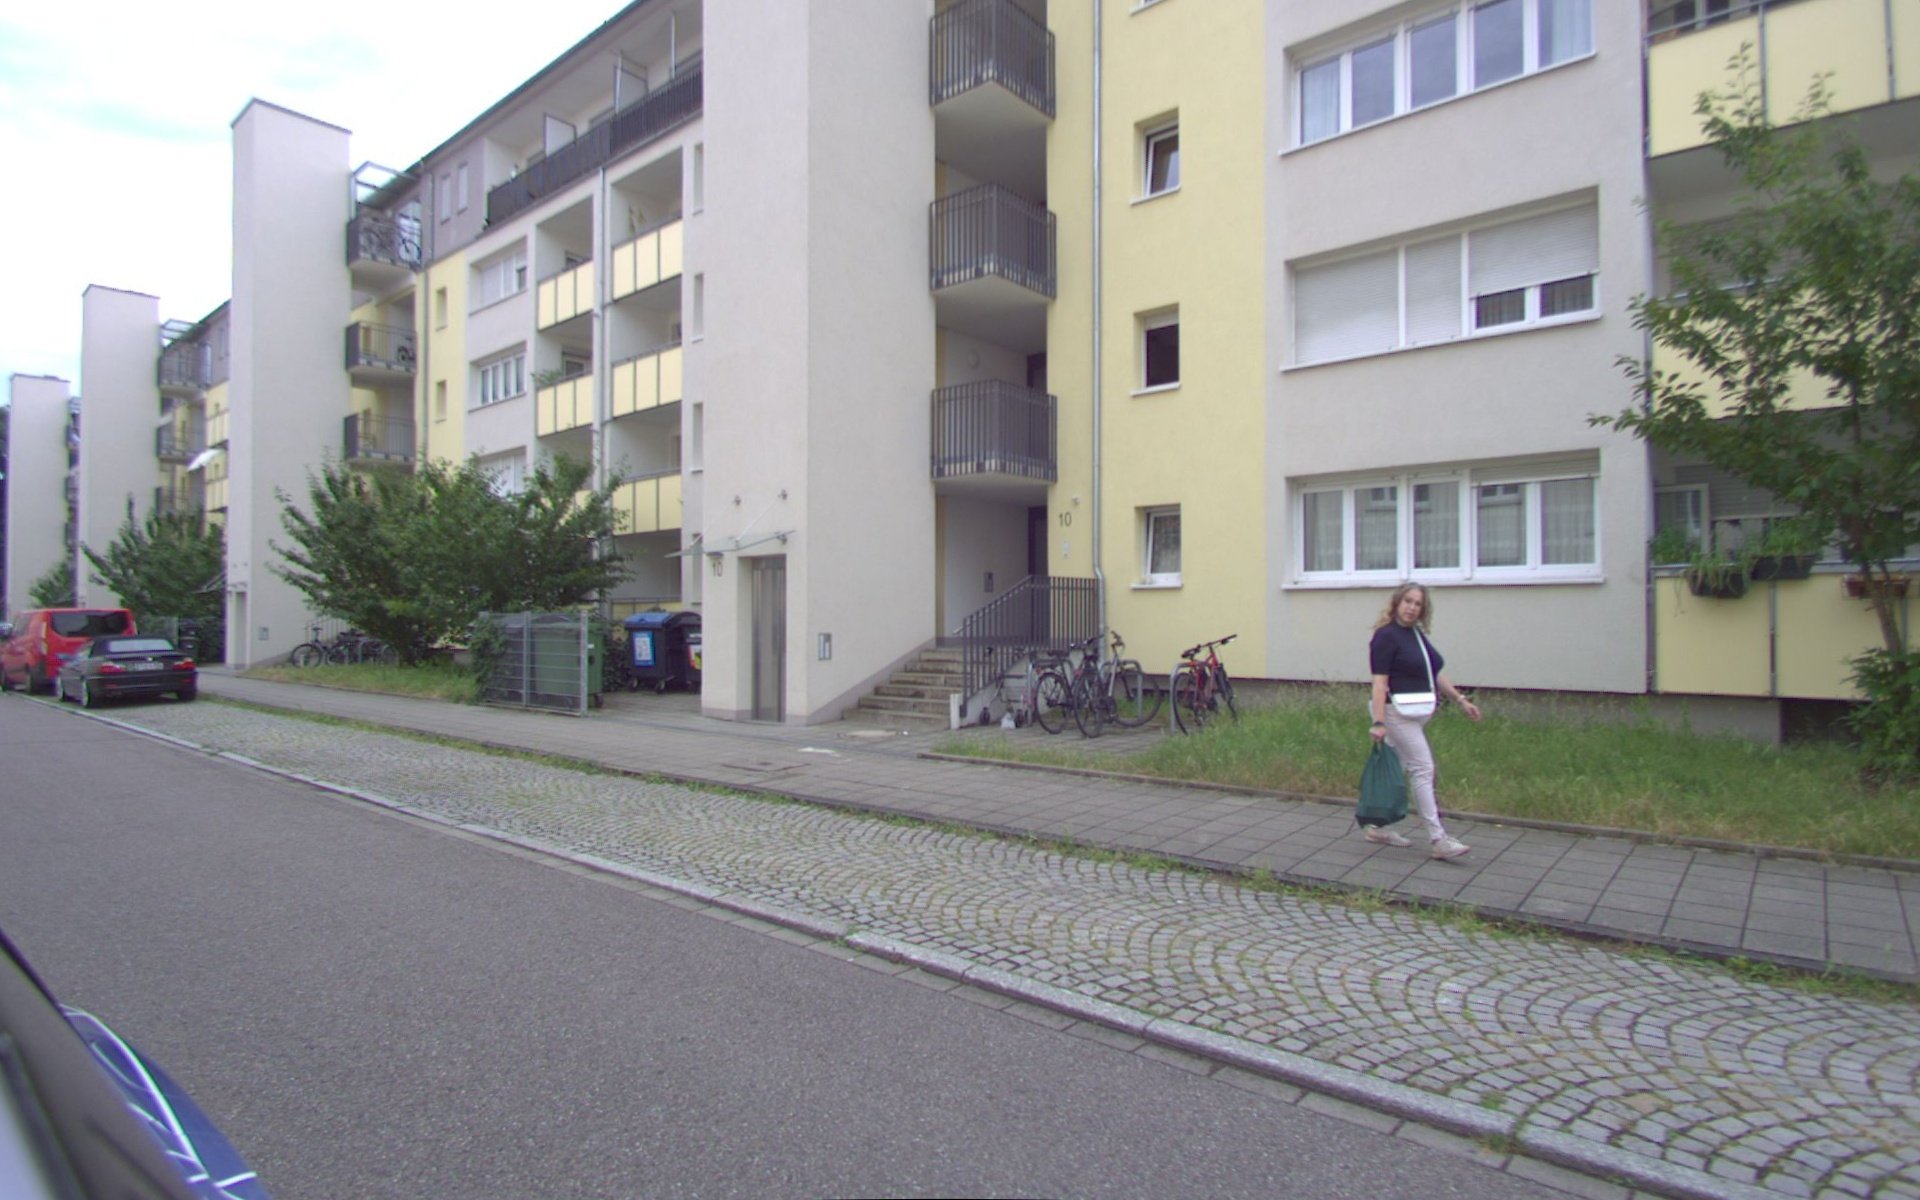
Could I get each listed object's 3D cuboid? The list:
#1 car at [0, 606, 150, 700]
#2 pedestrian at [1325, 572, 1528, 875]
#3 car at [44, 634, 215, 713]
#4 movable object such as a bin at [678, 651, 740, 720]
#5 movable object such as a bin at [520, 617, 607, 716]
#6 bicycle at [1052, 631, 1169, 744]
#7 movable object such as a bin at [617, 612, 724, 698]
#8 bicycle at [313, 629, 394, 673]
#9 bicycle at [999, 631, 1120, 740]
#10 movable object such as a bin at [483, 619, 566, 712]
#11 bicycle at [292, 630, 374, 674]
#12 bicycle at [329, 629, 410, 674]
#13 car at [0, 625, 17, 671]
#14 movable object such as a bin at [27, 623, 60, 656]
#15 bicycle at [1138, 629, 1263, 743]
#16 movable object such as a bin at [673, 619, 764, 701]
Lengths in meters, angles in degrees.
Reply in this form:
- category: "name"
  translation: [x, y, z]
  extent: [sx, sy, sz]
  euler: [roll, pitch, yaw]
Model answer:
- category: "car"
  translation: [-21.469, 1.202, 24.279]
  extent: [4.915, 1.968, 2.131]
  euler: [-1, 0, 38]
- category: "pedestrian"
  translation: [2.783, 0.669, 6.032]
  extent: [0.945, 1.622, 0.792]
  euler: [-1, -1, 36]
- category: "car"
  translation: [-16.793, 1.400, 20.397]
  extent: [4.357, 1.333, 1.851]
  euler: [-1, 0, 39]
- category: "movable object such as a bin"
  translation: [-3.730, 1.253, 15.039]
  extent: [0.652, 0.972, 0.629]
  euler: [-1, -2, 41]
- category: "movable object such as a bin"
  translation: [-6.159, 0.999, 15.692]
  extent: [1.288, 1.440, 0.794]
  euler: [-2, -1, 44]
- category: "bicycle"
  translation: [1.768, 0.950, 11.651]
  extent: [0.621, 1.150, 2.008]
  euler: [-1, -1, 30]
- category: "movable object such as a bin"
  translation: [-5.316, 0.983, 18.572]
  extent: [1.371, 1.475, 1.339]
  euler: [-1, -1, 39]
- category: "bicycle"
  translation: [-16.635, 1.384, 27.798]
  extent: [0.570, 1.127, 1.815]
  euler: [-2, -2, 42]
- category: "bicycle"
  translation: [1.218, 0.957, 11.965]
  extent: [0.621, 1.150, 2.008]
  euler: [-1, -1, 31]
- category: "movable object such as a bin"
  translation: [-7.151, 1.048, 16.607]
  extent: [1.288, 1.440, 0.795]
  euler: [-2, -1, 43]
- category: "bicycle"
  translation: [-17.335, 1.410, 28.010]
  extent: [0.604, 1.127, 1.816]
  euler: [-2, -1, 39]
- category: "bicycle"
  translation: [-15.862, 1.368, 27.202]
  extent: [1.813, 1.127, 0.571]
  euler: [0, -2, -43]
- category: "car"
  translation: [-33.840, 1.661, 34.883]
  extent: [3.895, 1.542, 1.635]
  euler: [-1, 0, 43]
- category: "movable object such as a bin"
  translation: [-43.324, 1.838, 47.839]
  extent: [1.314, 1.512, 0.991]
  euler: [-1, -1, 41]
- category: "bicycle"
  translation: [2.764, 0.917, 11.480]
  extent: [0.622, 1.150, 2.004]
  euler: [-1, -1, 37]
- category: "movable object such as a bin"
  translation: [-4.219, 1.024, 17.668]
  extent: [1.287, 1.350, 0.969]
  euler: [-1, -1, 41]
